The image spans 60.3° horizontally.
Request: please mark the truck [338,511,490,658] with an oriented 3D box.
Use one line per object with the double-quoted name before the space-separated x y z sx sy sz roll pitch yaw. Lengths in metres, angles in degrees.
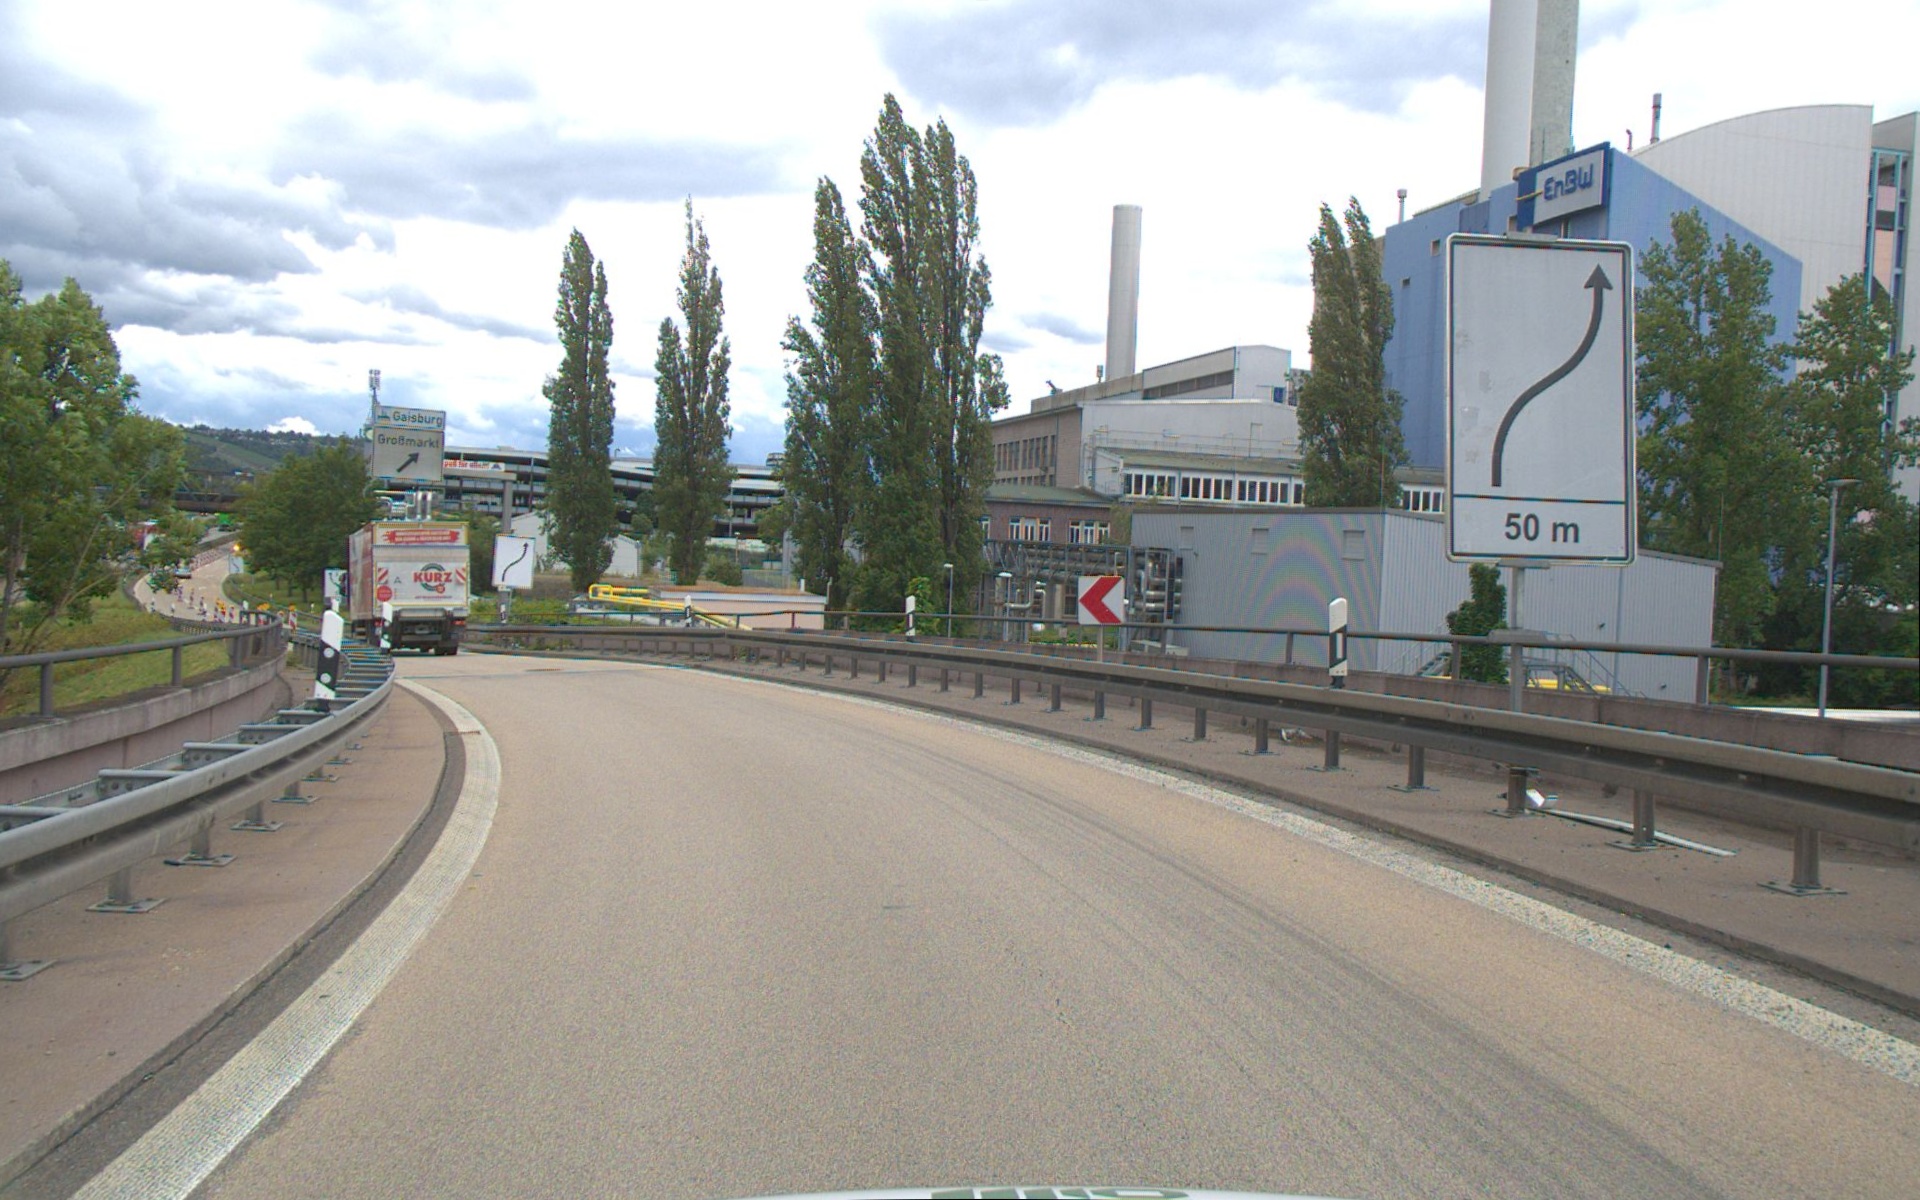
"truck" -15.681 -0.445 47.112 3.013 3.737 7.862 2 0 -26
